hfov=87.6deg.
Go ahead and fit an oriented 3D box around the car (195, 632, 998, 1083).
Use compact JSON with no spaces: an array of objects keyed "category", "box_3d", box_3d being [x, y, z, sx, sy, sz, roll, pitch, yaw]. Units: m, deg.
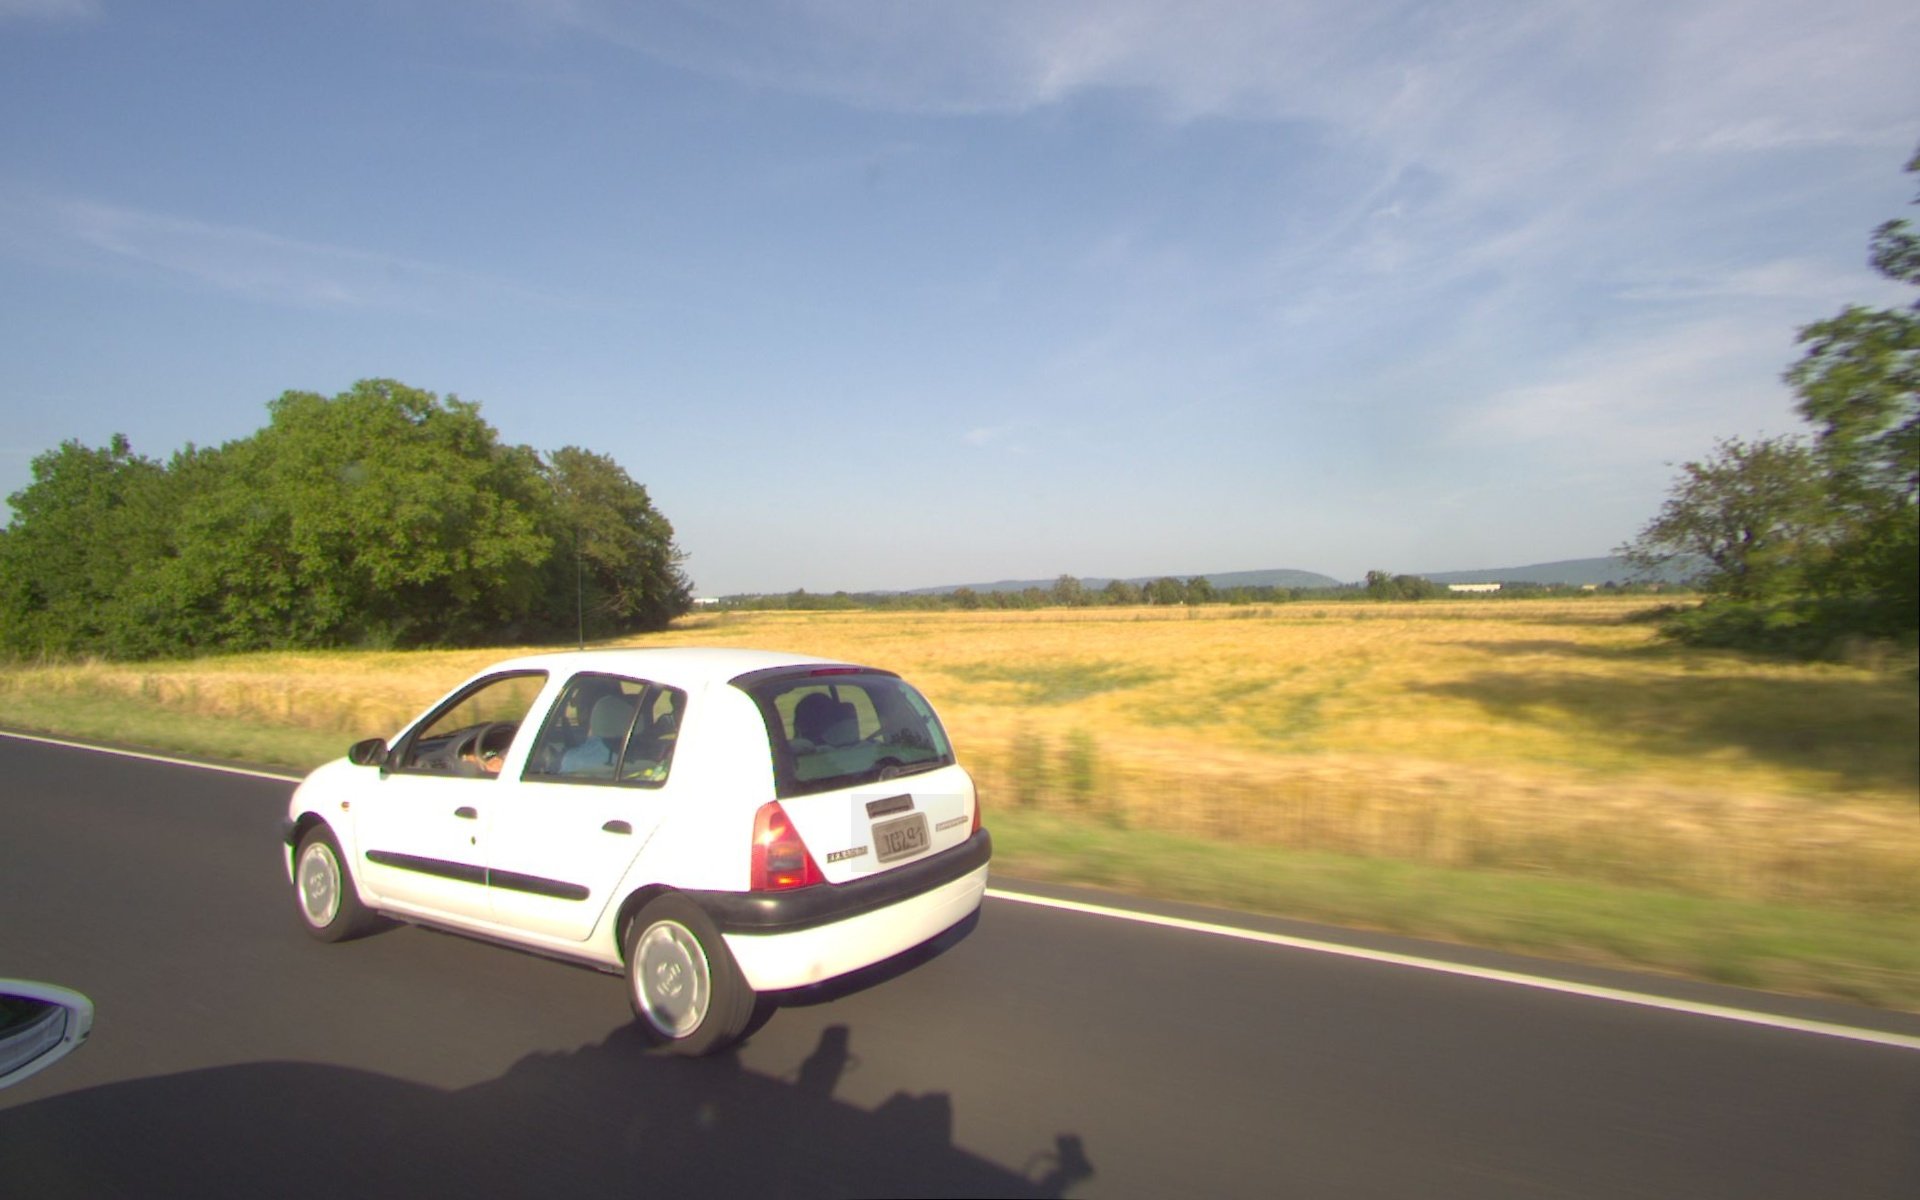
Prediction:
[{"category":"car","box_3d":[-1.903,0.881,4.865,3.895,1.405,1.615,-2,-2,32]}]
